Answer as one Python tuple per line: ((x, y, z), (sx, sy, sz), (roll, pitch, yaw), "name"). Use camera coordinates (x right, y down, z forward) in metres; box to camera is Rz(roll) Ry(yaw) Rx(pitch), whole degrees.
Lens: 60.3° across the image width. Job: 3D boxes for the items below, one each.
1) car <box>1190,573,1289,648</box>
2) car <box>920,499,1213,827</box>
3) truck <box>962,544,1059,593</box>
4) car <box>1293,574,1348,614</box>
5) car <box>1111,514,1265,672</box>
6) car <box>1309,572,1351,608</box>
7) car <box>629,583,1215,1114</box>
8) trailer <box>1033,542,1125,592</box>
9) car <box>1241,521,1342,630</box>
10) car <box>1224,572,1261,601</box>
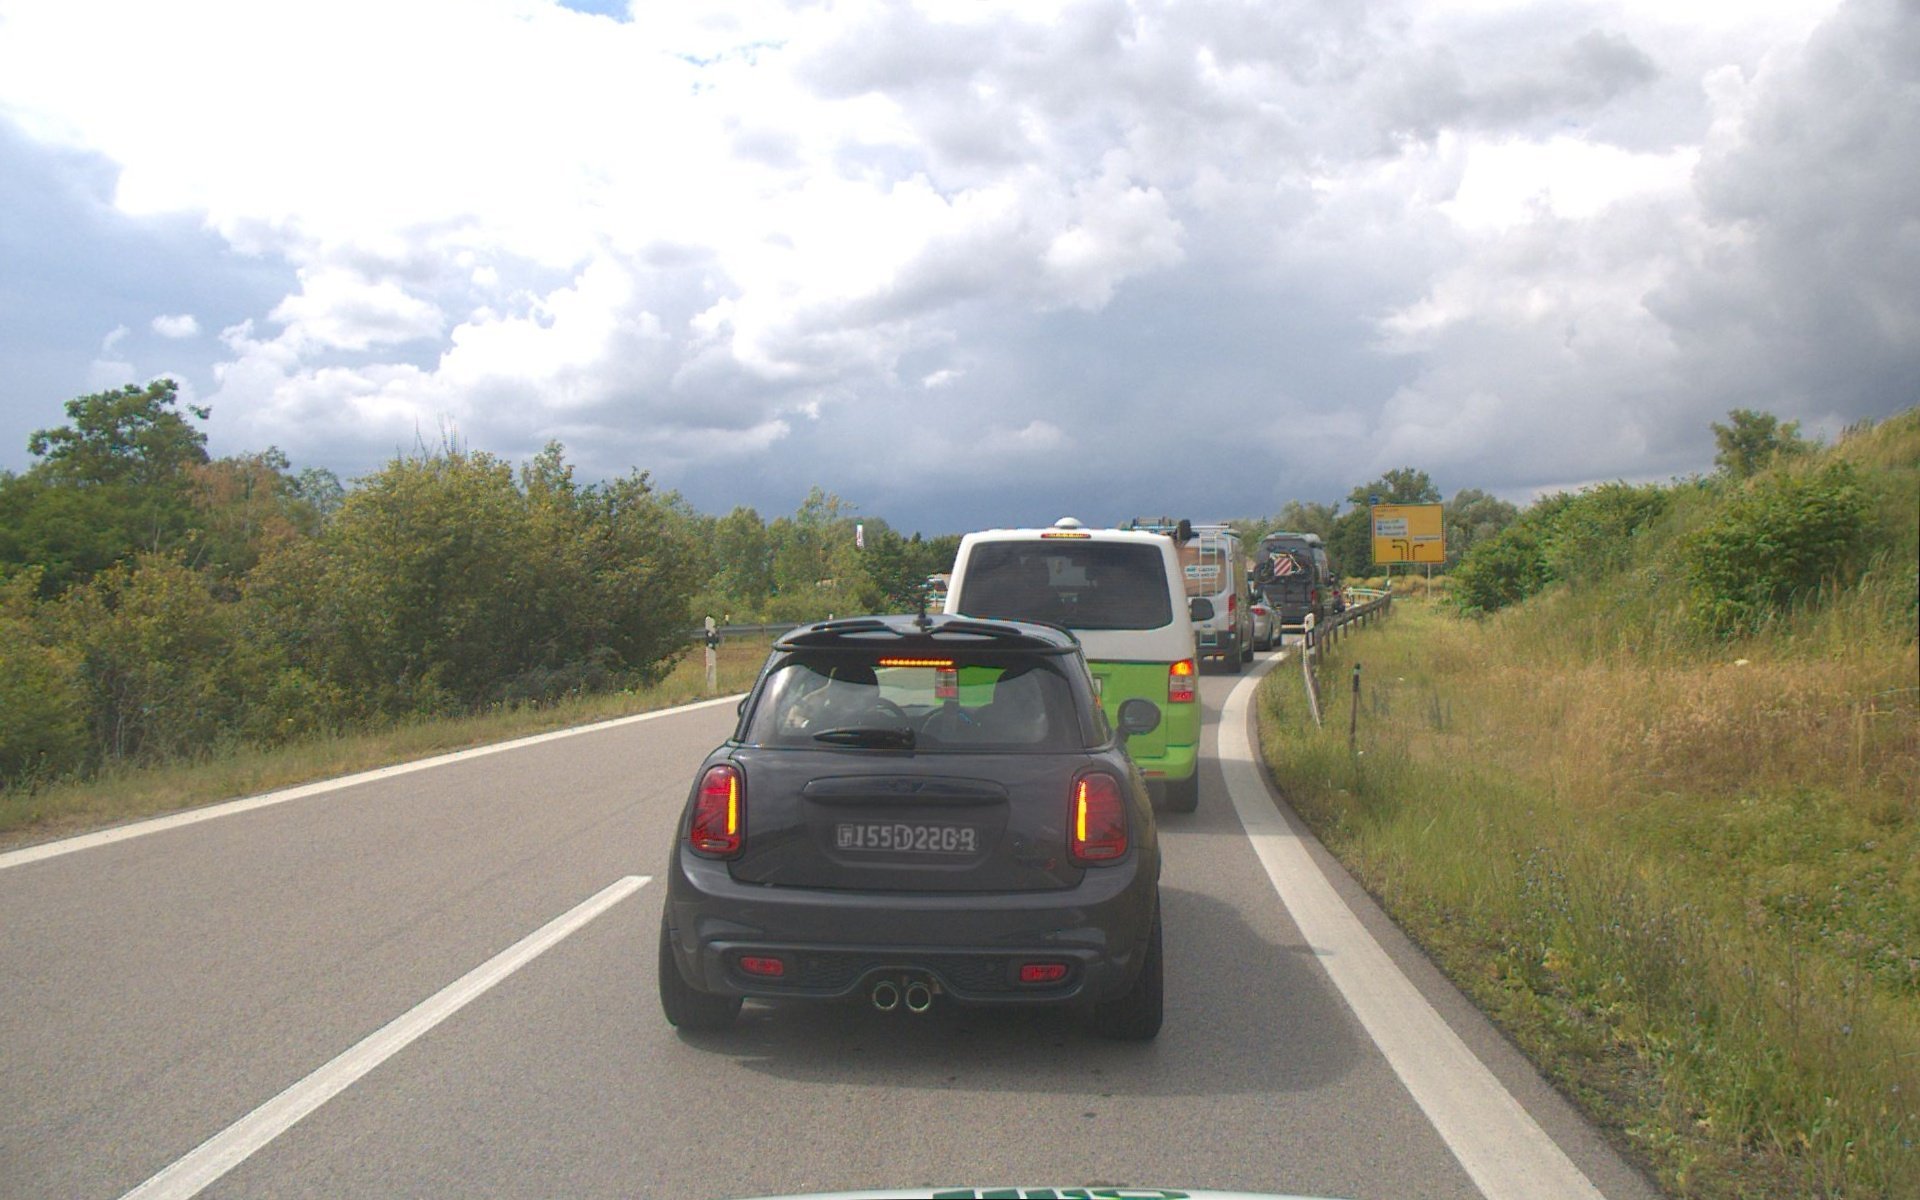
((6.718, 0.248, 39.454), (1.951, 1.671, 3.931), (1, 0, 15), "car")
((0.954, 0.394, 12.688), (1.870, 2.081, 4.184), (0, 0, 8), "car")
((4.285, -2.706, 143.478), (2.815, 4.045, 9.898), (1, 0, -37), "truck")
((15.257, -0.227, 69.914), (1.853, 1.616, 4.497), (1, 0, 18), "car")
((4.369, -0.115, 30.893), (2.165, 2.668, 5.538), (1, 0, 15), "car")
((20.621, -0.559, 92.264), (2.050, 1.916, 4.499), (1, 0, 10), "car")
((-0.015, 0.729, 6.853), (1.762, 1.573, 3.740), (0, 0, 3), "car")
((9.743, -2.646, 135.995), (3.007, 3.966, 8.676), (1, 0, -32), "trailer")
((10.268, -0.695, 50.758), (2.262, 3.122, 6.665), (1, 0, 18), "car")
((19.441, -0.884, 113.973), (2.051, 1.916, 4.497), (1, 0, 4), "car")
